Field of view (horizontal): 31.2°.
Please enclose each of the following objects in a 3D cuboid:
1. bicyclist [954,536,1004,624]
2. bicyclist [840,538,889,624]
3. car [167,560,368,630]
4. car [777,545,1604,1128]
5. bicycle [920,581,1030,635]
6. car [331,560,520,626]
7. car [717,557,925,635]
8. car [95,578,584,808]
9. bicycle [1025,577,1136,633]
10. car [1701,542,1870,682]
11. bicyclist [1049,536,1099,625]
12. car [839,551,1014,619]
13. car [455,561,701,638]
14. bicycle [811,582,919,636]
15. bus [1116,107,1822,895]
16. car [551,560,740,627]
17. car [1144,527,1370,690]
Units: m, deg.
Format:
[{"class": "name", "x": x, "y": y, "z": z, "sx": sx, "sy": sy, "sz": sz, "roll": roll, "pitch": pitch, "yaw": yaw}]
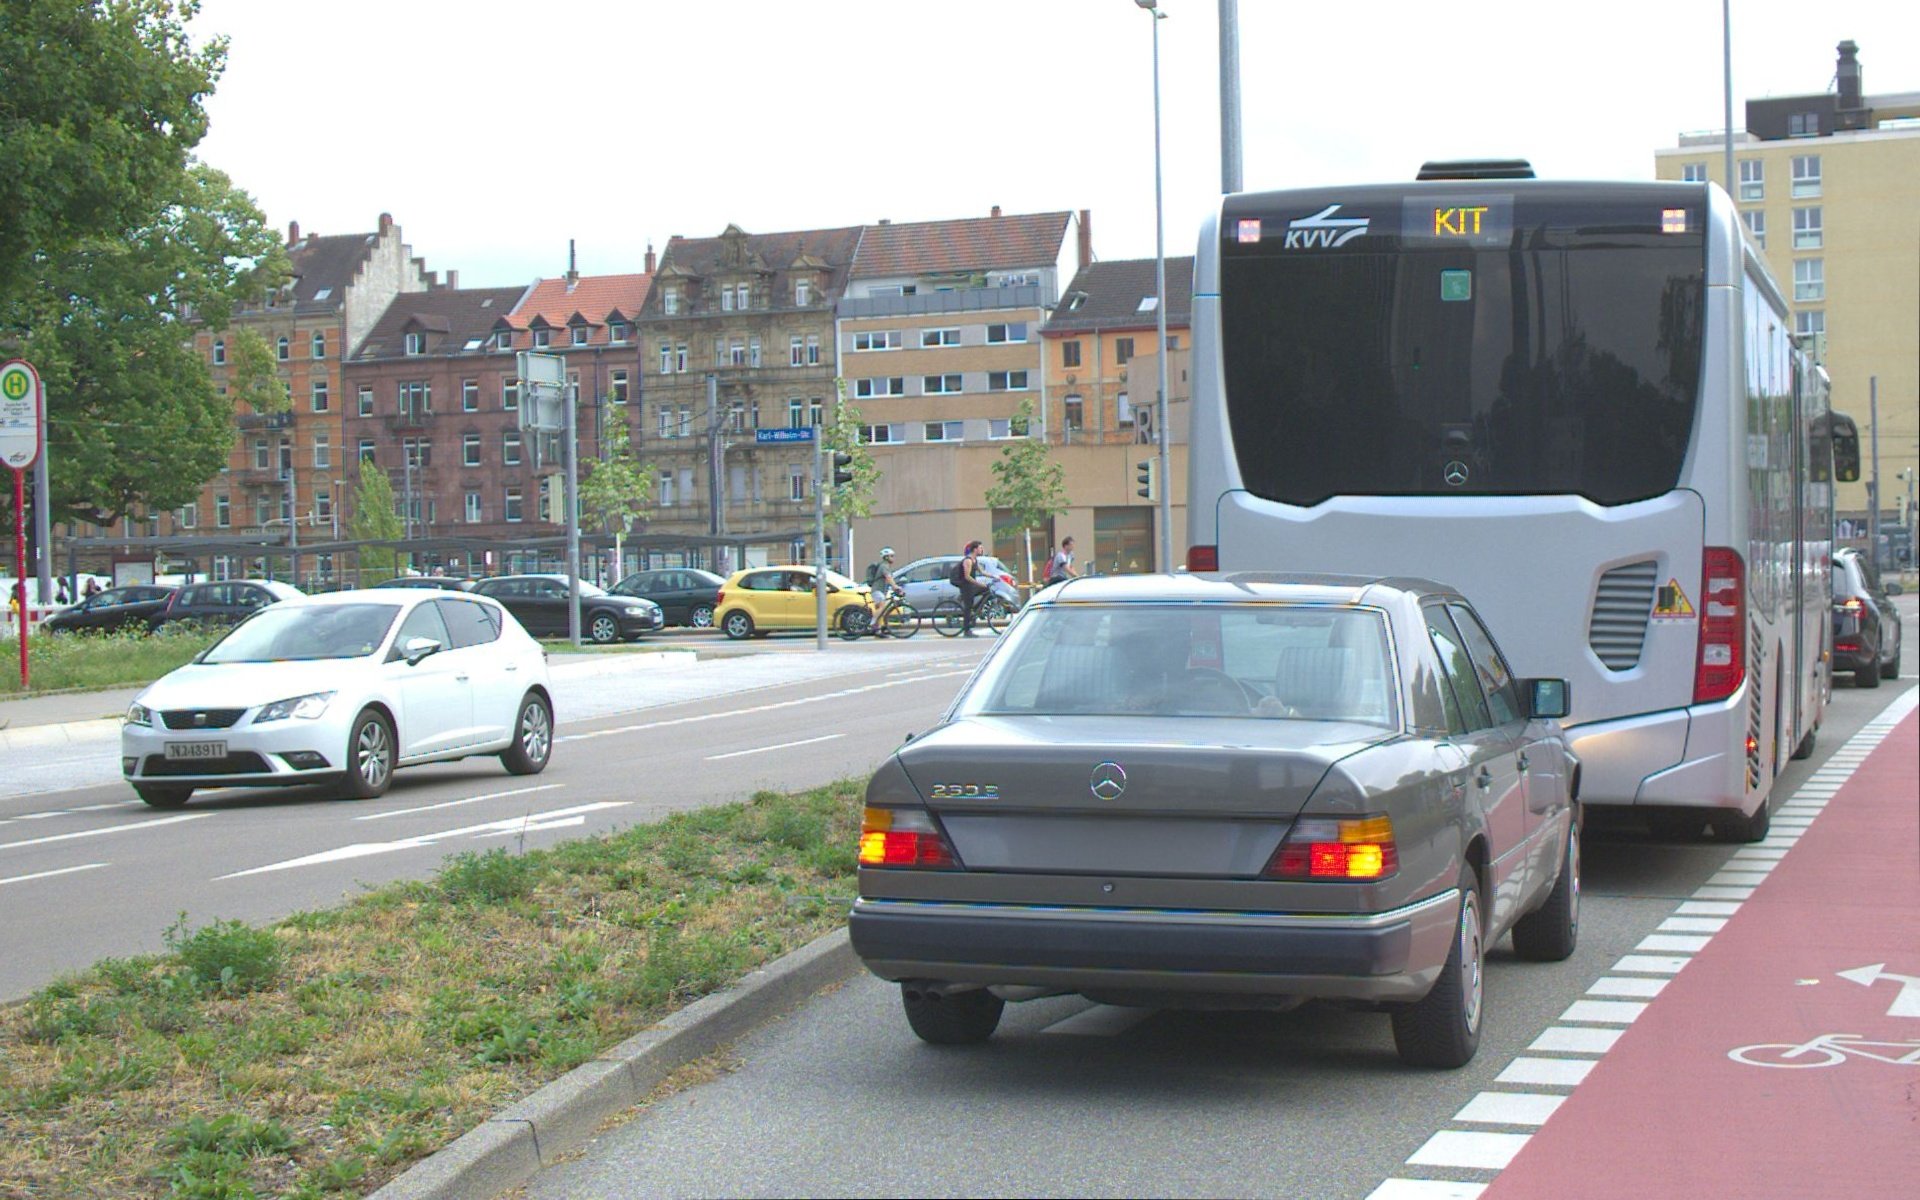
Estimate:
[{"class": "bicyclist", "x": 0.358, "y": -0.381, "z": 65.234, "sx": 0.787, "sy": 1.638, "sz": 0.572, "roll": -1, "pitch": 1, "yaw": 17}, {"class": "bicyclist", "x": -1.837, "y": -0.368, "z": 66.065, "sx": 0.787, "sy": 1.638, "sz": 0.572, "roll": -1, "pitch": 1, "yaw": 12}, {"class": "car", "x": -14.357, "y": -0.107, "z": 71.339, "sx": 3.765, "sy": 1.389, "sz": 1.584, "roll": 0, "pitch": 1, "yaw": 13}, {"class": "car", "x": 0.956, "y": 0.593, "z": 11.134, "sx": 1.762, "sy": 1.484, "sz": 4.168, "roll": -1, "pitch": 1, "yaw": 17}, {"class": "bicycle", "x": 0.281, "y": 0.156, "z": 65.255, "sx": 1.965, "sy": 0.978, "sz": 0.630, "roll": -1, "pitch": 1, "yaw": 16}, {"class": "car", "x": -11.661, "y": -0.163, "z": 75.124, "sx": 3.765, "sy": 1.389, "sz": 1.584, "roll": 0, "pitch": 1, "yaw": 13}, {"class": "car", "x": -2.769, "y": -0.094, "z": 68.738, "sx": 3.858, "sy": 1.512, "sz": 1.659, "roll": 0, "pitch": 1, "yaw": 13}, {"class": "car", "x": -4.386, "y": 0.618, "z": 24.974, "sx": 1.698, "sy": 1.438, "sz": 4.172, "roll": -2, "pitch": 1, "yaw": 18}, {"class": "bicycle", "x": 2.251, "y": 0.093, "z": 64.354, "sx": 1.965, "sy": 0.978, "sz": 0.630, "roll": -1, "pitch": 1, "yaw": 15}, {"class": "car", "x": 8.941, "y": 0.097, "z": 37.093, "sx": 1.656, "sy": 1.392, "sz": 3.858, "roll": -1, "pitch": 1, "yaw": 15}, {"class": "bicyclist", "x": 2.134, "y": -0.367, "z": 64.377, "sx": 0.787, "sy": 1.638, "sz": 0.613, "roll": -1, "pitch": 1, "yaw": 15}, {"class": "car", "x": -0.709, "y": -0.328, "z": 73.106, "sx": 3.672, "sy": 1.389, "sz": 1.585, "roll": 0, "pitch": 1, "yaw": 0}, {"class": "car", "x": -7.750, "y": -0.025, "z": 69.799, "sx": 4.672, "sy": 1.470, "sz": 1.659, "roll": 1, "pitch": 1, "yaw": 13}, {"class": "bicycle", "x": -1.820, "y": 0.178, "z": 66.050, "sx": 1.965, "sy": 0.978, "sz": 0.630, "roll": -1, "pitch": 1, "yaw": 13}, {"class": "bus", "x": 3.190, "y": -0.496, "z": 19.057, "sx": 2.833, "sy": 3.379, "sz": 8.177, "roll": -1, "pitch": 1, "yaw": 16}, {"class": "car", "x": -6.775, "y": -0.144, "z": 74.145, "sx": 3.765, "sy": 1.389, "sz": 1.584, "roll": 0, "pitch": 1, "yaw": 13}, {"class": "car", "x": 3.464, "y": 0.054, "z": 39.370, "sx": 1.782, "sy": 1.724, "sz": 4.370, "roll": -2, "pitch": 1, "yaw": 15}]
